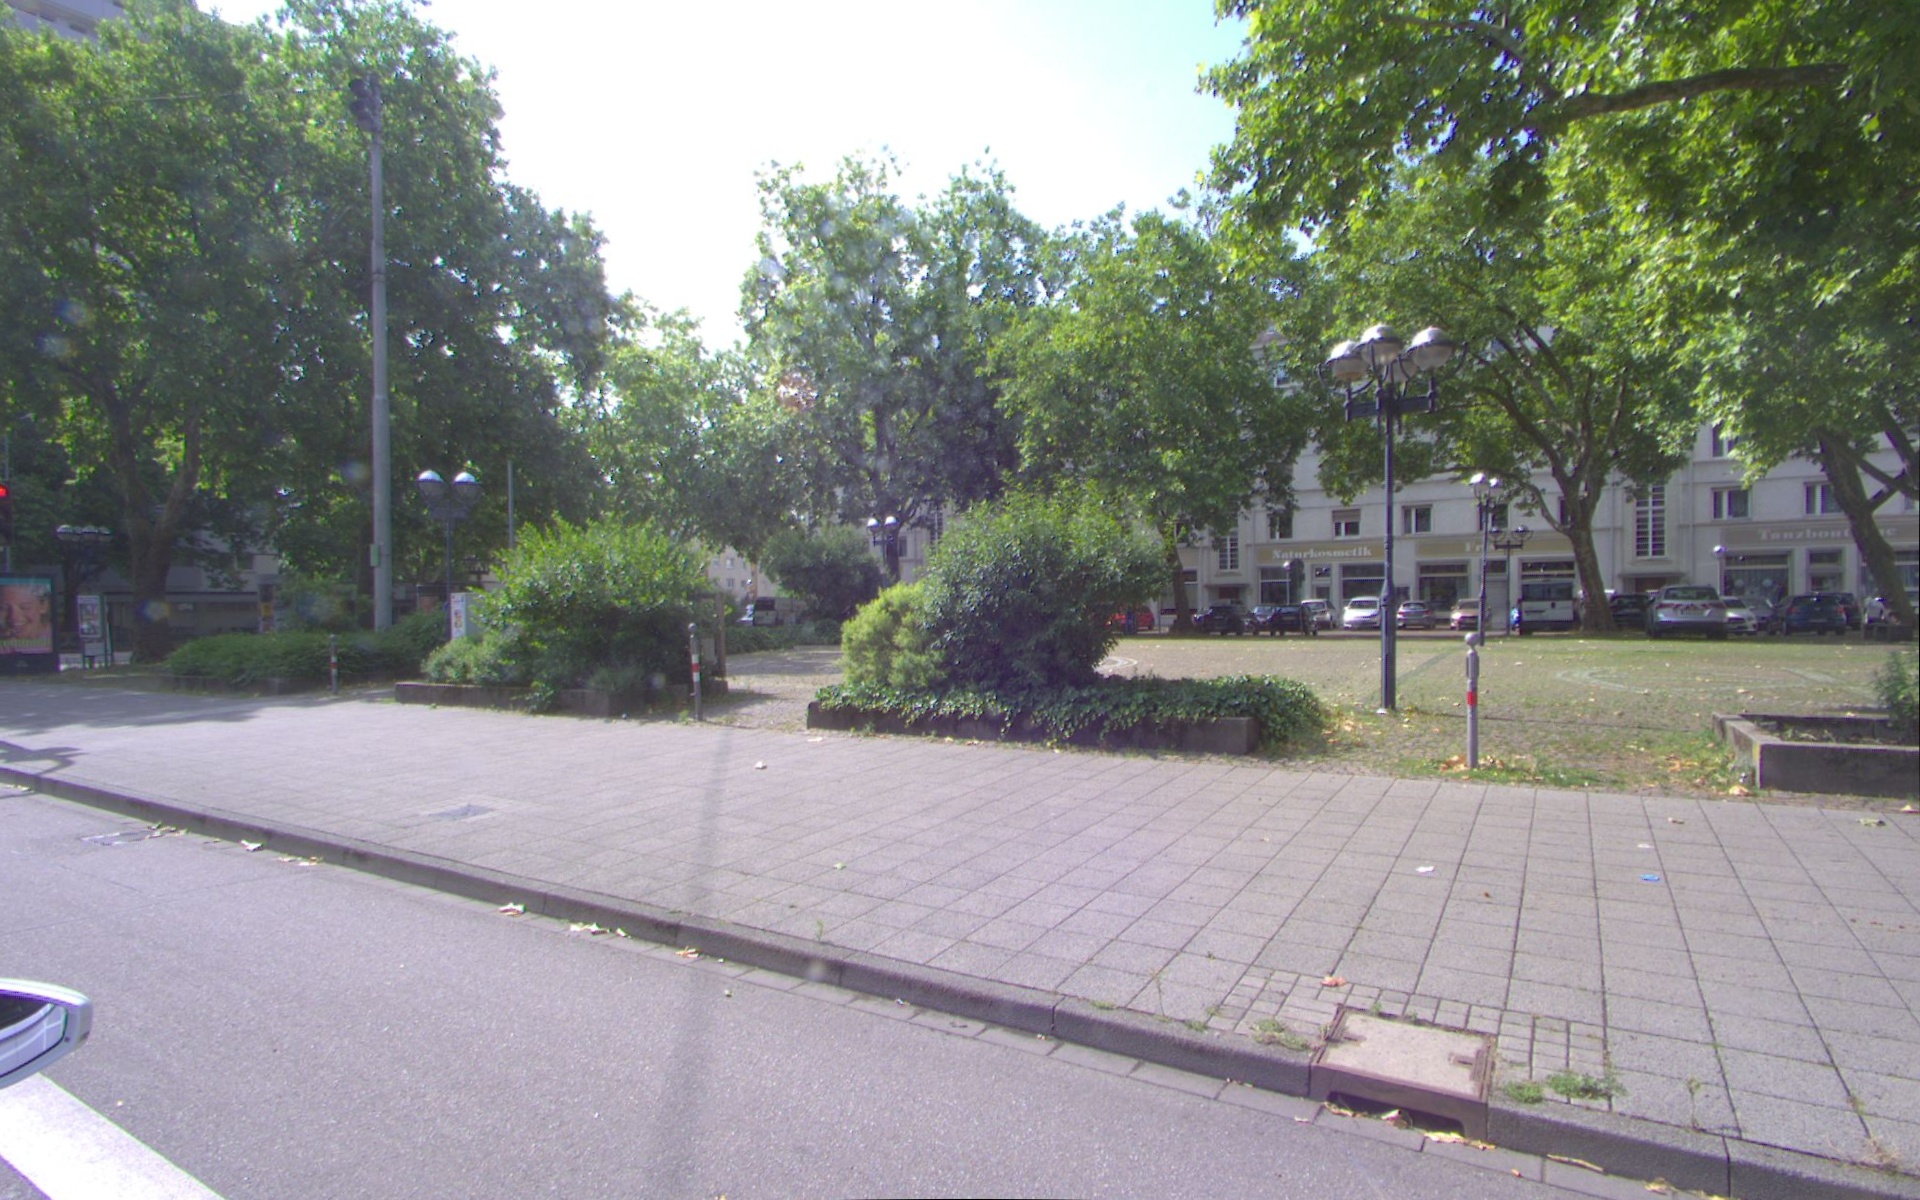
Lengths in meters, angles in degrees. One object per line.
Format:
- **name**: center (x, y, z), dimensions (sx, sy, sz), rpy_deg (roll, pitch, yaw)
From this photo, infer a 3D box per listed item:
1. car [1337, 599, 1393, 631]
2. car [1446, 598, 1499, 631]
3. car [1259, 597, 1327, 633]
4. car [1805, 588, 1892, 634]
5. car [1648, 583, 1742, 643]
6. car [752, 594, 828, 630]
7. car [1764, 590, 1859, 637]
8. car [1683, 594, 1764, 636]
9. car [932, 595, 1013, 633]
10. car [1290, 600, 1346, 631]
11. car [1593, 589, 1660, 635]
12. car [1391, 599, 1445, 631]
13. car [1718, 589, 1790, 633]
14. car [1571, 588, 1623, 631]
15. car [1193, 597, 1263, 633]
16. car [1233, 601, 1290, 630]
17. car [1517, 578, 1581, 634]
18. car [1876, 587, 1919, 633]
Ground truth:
- **car**: center (21.380, 0.753, 52.713), dimensions (1.958, 1.570, 4.671), rpy_deg (-1, 0, 32)
- **car**: center (25.858, 0.708, 50.440), dimensions (2.009, 1.570, 4.671), rpy_deg (-1, 0, 32)
- **car**: center (14.899, 0.641, 44.643), dimensions (1.958, 1.541, 4.245), rpy_deg (-1, 0, 32)
- **car**: center (37.628, 0.424, 42.550), dimensions (2.161, 1.828, 4.668), rpy_deg (0, 0, 34)
- **car**: center (22.021, 0.368, 30.160), dimensions (1.971, 1.658, 4.143), rpy_deg (0, 0, 32)
- **car**: center (-10.149, 0.700, 60.008), dimensions (2.048, 2.040, 4.403), rpy_deg (0, 0, 33)
- **car**: center (30.107, 0.453, 35.530), dimensions (1.971, 1.544, 4.143), rpy_deg (-1, 0, 32)
- **car**: center (27.292, 0.503, 35.906), dimensions (1.931, 1.440, 4.156), rpy_deg (-1, 0, 32)
- **car**: center (0.743, 0.724, 54.033), dimensions (2.161, 1.955, 4.668), rpy_deg (0, 0, 34)
- **car**: center (19.415, 0.802, 54.143), dimensions (1.958, 1.570, 4.415), rpy_deg (-1, 0, 32)
- **car**: center (25.141, 0.429, 37.890), dimensions (1.971, 1.615, 4.245), rpy_deg (-1, 0, 32)
- **car**: center (23.731, 0.735, 51.752), dimensions (1.958, 1.570, 4.671), rpy_deg (-1, 0, 32)
- **car**: center (35.276, 0.466, 44.620), dimensions (2.161, 1.828, 4.730), rpy_deg (0, 0, 34)
- **car**: center (30.348, 0.418, 47.747), dimensions (2.009, 1.955, 4.671), rpy_deg (0, 0, 32)
- **car**: center (12.417, 0.659, 46.149), dimensions (1.958, 1.541, 4.245), rpy_deg (-1, 0, 32)
- **car**: center (16.781, 0.848, 55.620), dimensions (1.958, 1.541, 4.245), rpy_deg (-1, 0, 32)
- **car**: center (23.052, 0.217, 39.132), dimensions (2.047, 2.040, 4.245), rpy_deg (0, 0, 32)
- **car**: center (39.585, 0.365, 41.151), dimensions (2.161, 1.828, 4.730), rpy_deg (0, 0, 34)
